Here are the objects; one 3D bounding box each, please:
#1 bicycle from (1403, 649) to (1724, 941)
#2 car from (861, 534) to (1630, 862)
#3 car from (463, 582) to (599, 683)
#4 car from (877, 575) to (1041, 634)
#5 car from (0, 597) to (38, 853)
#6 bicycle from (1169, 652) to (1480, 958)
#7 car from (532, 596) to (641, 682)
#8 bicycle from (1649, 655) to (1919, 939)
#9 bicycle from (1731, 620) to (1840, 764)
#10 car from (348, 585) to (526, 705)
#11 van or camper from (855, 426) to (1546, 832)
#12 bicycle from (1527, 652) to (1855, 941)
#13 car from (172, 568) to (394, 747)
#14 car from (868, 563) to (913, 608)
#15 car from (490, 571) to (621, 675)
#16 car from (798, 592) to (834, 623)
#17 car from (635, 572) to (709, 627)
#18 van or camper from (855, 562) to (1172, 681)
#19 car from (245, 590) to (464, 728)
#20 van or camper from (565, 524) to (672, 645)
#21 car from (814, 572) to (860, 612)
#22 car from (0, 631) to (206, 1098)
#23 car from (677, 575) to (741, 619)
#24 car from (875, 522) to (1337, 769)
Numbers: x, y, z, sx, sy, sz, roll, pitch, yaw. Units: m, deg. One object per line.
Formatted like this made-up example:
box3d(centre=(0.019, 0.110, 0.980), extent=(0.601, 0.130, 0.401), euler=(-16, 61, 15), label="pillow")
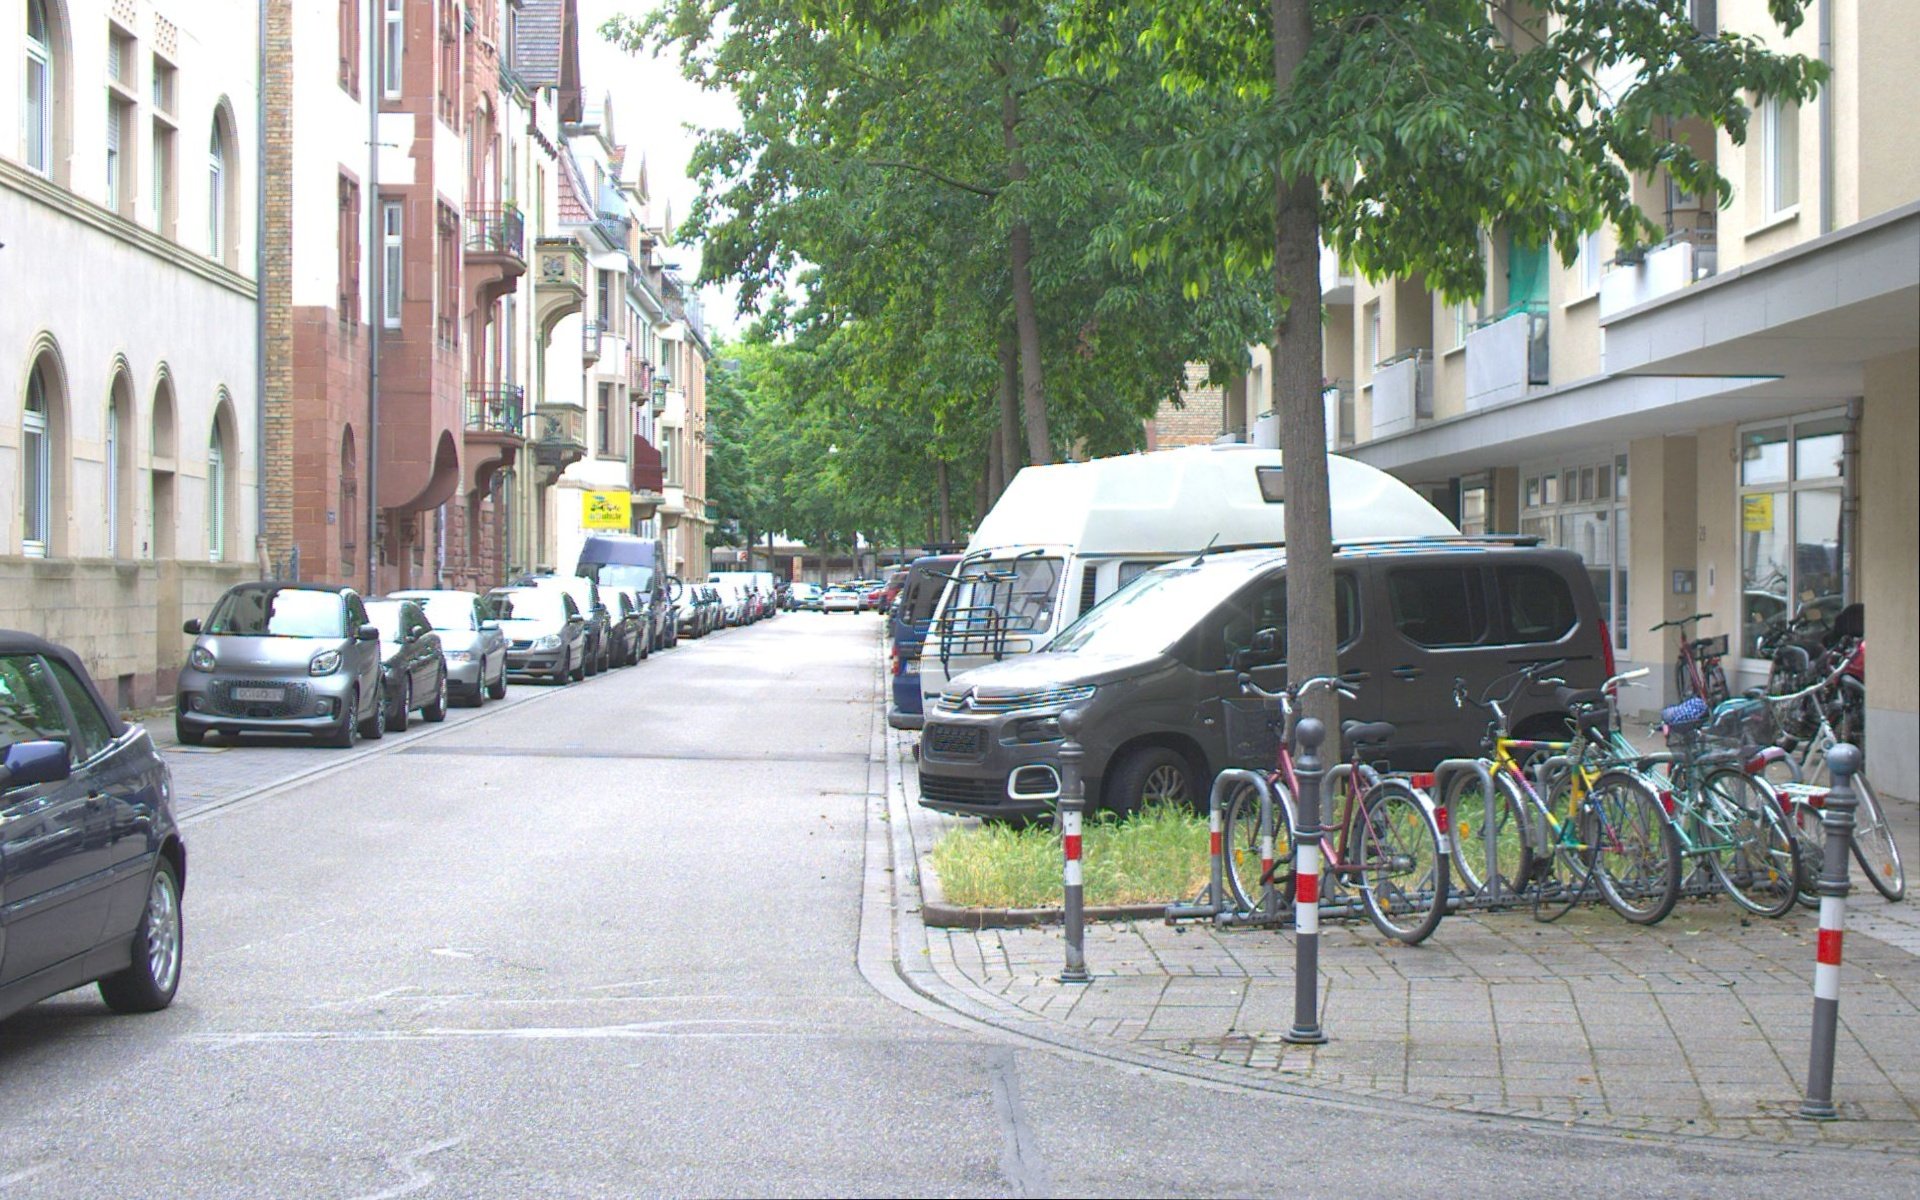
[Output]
box3d(centre=(2.641, 0.825, 15.222), extent=(0.548, 1.169, 1.729), euler=(0, 1, -23), label="bicycle")
box3d(centre=(1.765, 0.543, 21.120), extent=(4.331, 1.848, 1.911), euler=(0, 0, -26), label="car")
box3d(centre=(-6.593, 0.474, 53.183), extent=(1.662, 1.416, 3.929), euler=(2, 1, -1), label="car")
box3d(centre=(-0.021, 0.122, 92.279), extent=(4.010, 1.554, 1.884), euler=(0, 0, -32), label="car")
box3d(centre=(-6.419, 0.688, 18.652), extent=(1.709, 1.489, 4.000), euler=(2, -1, 0), label="car")
box3d(centre=(1.519, 0.834, 14.624), extent=(0.548, 1.169, 1.729), euler=(0, 1, -23), label="bicycle")
box3d(centre=(-6.961, 0.705, 64.362), extent=(1.634, 1.468, 4.000), euler=(2, 1, -1), label="car")
box3d(centre=(3.867, 0.864, 15.706), extent=(0.548, 1.169, 1.698), euler=(0, 1, -23), label="bicycle")
box3d(centre=(6.592, 0.718, 27.514), extent=(0.484, 1.086, 1.701), euler=(0, 0, 1), label="bicycle")
box3d(centre=(-6.706, 0.545, 44.400), extent=(1.726, 1.382, 4.137), euler=(2, 1, -1), label="car")
box3d(centre=(1.726, 0.175, 23.985), extent=(4.582, 2.587, 1.911), euler=(0, 0, -33), label="van or camper")
box3d(centre=(3.252, 0.844, 15.448), extent=(0.548, 1.169, 1.729), euler=(0, 1, -23), label="bicycle")
box3d(centre=(-6.556, 0.524, 33.532), extent=(1.646, 1.565, 2.957), euler=(2, 1, -2), label="car")
box3d(centre=(-3.313, -0.698, 162.697), extent=(1.993, 2.007, 4.000), euler=(3, 0, -2), label="car")
box3d(centre=(-6.923, 0.365, 59.196), extent=(1.786, 1.641, 4.362), euler=(2, 1, -1), label="car")
box3d(centre=(-7.712, 0.413, 184.659), extent=(1.821, 1.639, 3.754), euler=(2, -1, -2), label="car")
box3d(centre=(-7.980, -0.025, 95.501), extent=(1.789, 1.475, 4.023), euler=(1, 0, -2), label="car")
box3d(centre=(0.940, 0.346, 59.100), extent=(5.005, 1.863, 2.127), euler=(-2, 0, -29), label="van or camper")
box3d(centre=(-6.550, 0.630, 37.536), extent=(1.726, 1.382, 3.929), euler=(2, -1, -1), label="car")
box3d(centre=(-7.717, -0.406, 78.125), extent=(2.008, 2.642, 5.316), euler=(0, 1, -1), label="van or camper")
box3d(centre=(-5.786, -0.371, 161.952), extent=(1.993, 1.788, 4.000), euler=(2, -1, 0), label="car")
box3d(centre=(-3.745, 0.812, 11.120), extent=(1.708, 1.408, 3.852), euler=(0, -1, 1), label="car")
box3d(centre=(-8.652, -0.125, 118.631), extent=(1.993, 1.470, 4.000), euler=(0, 0, -1), label="car")
box3d(centre=(1.454, 0.385, 32.795), extent=(2.065, 2.189, 4.388), euler=(1, 0, 42), label="car")
